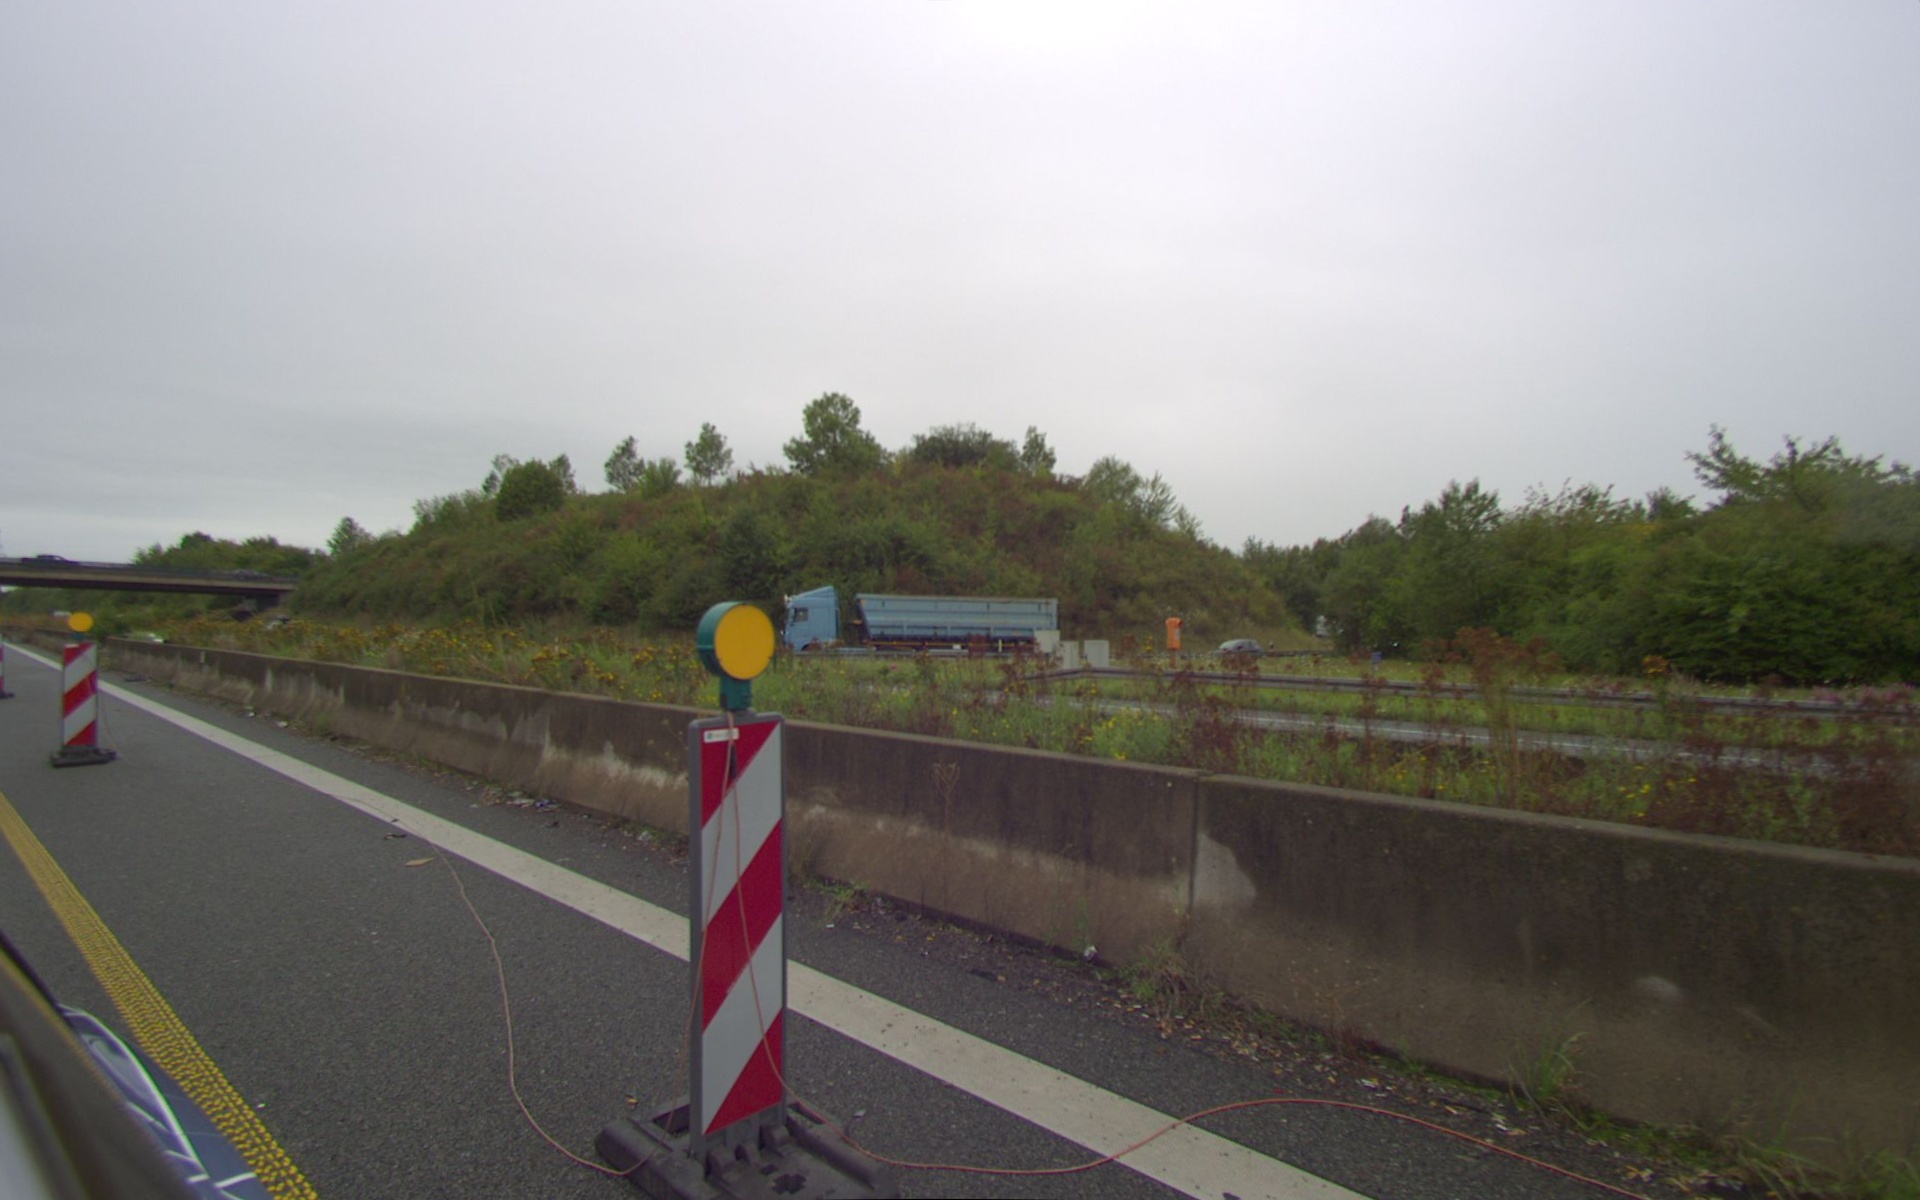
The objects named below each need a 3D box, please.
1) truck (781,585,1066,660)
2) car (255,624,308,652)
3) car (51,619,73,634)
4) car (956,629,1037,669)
[{"bbox_3d":[-1.892,1.211,52.114,14.346,3.647,2.906,1,-2,-9],"label":"truck"},{"bbox_3d":[-46.312,2.580,69.029,4.228,1.803,1.972,-1,-3,42],"label":"car"},{"bbox_3d":[-144.636,4.319,163.018,5.885,2.459,2.214,-2,-3,45],"label":"car"},{"bbox_3d":[1.863,2.520,52.376,3.938,2.029,2.003,1,-2,-6],"label":"car"}]
